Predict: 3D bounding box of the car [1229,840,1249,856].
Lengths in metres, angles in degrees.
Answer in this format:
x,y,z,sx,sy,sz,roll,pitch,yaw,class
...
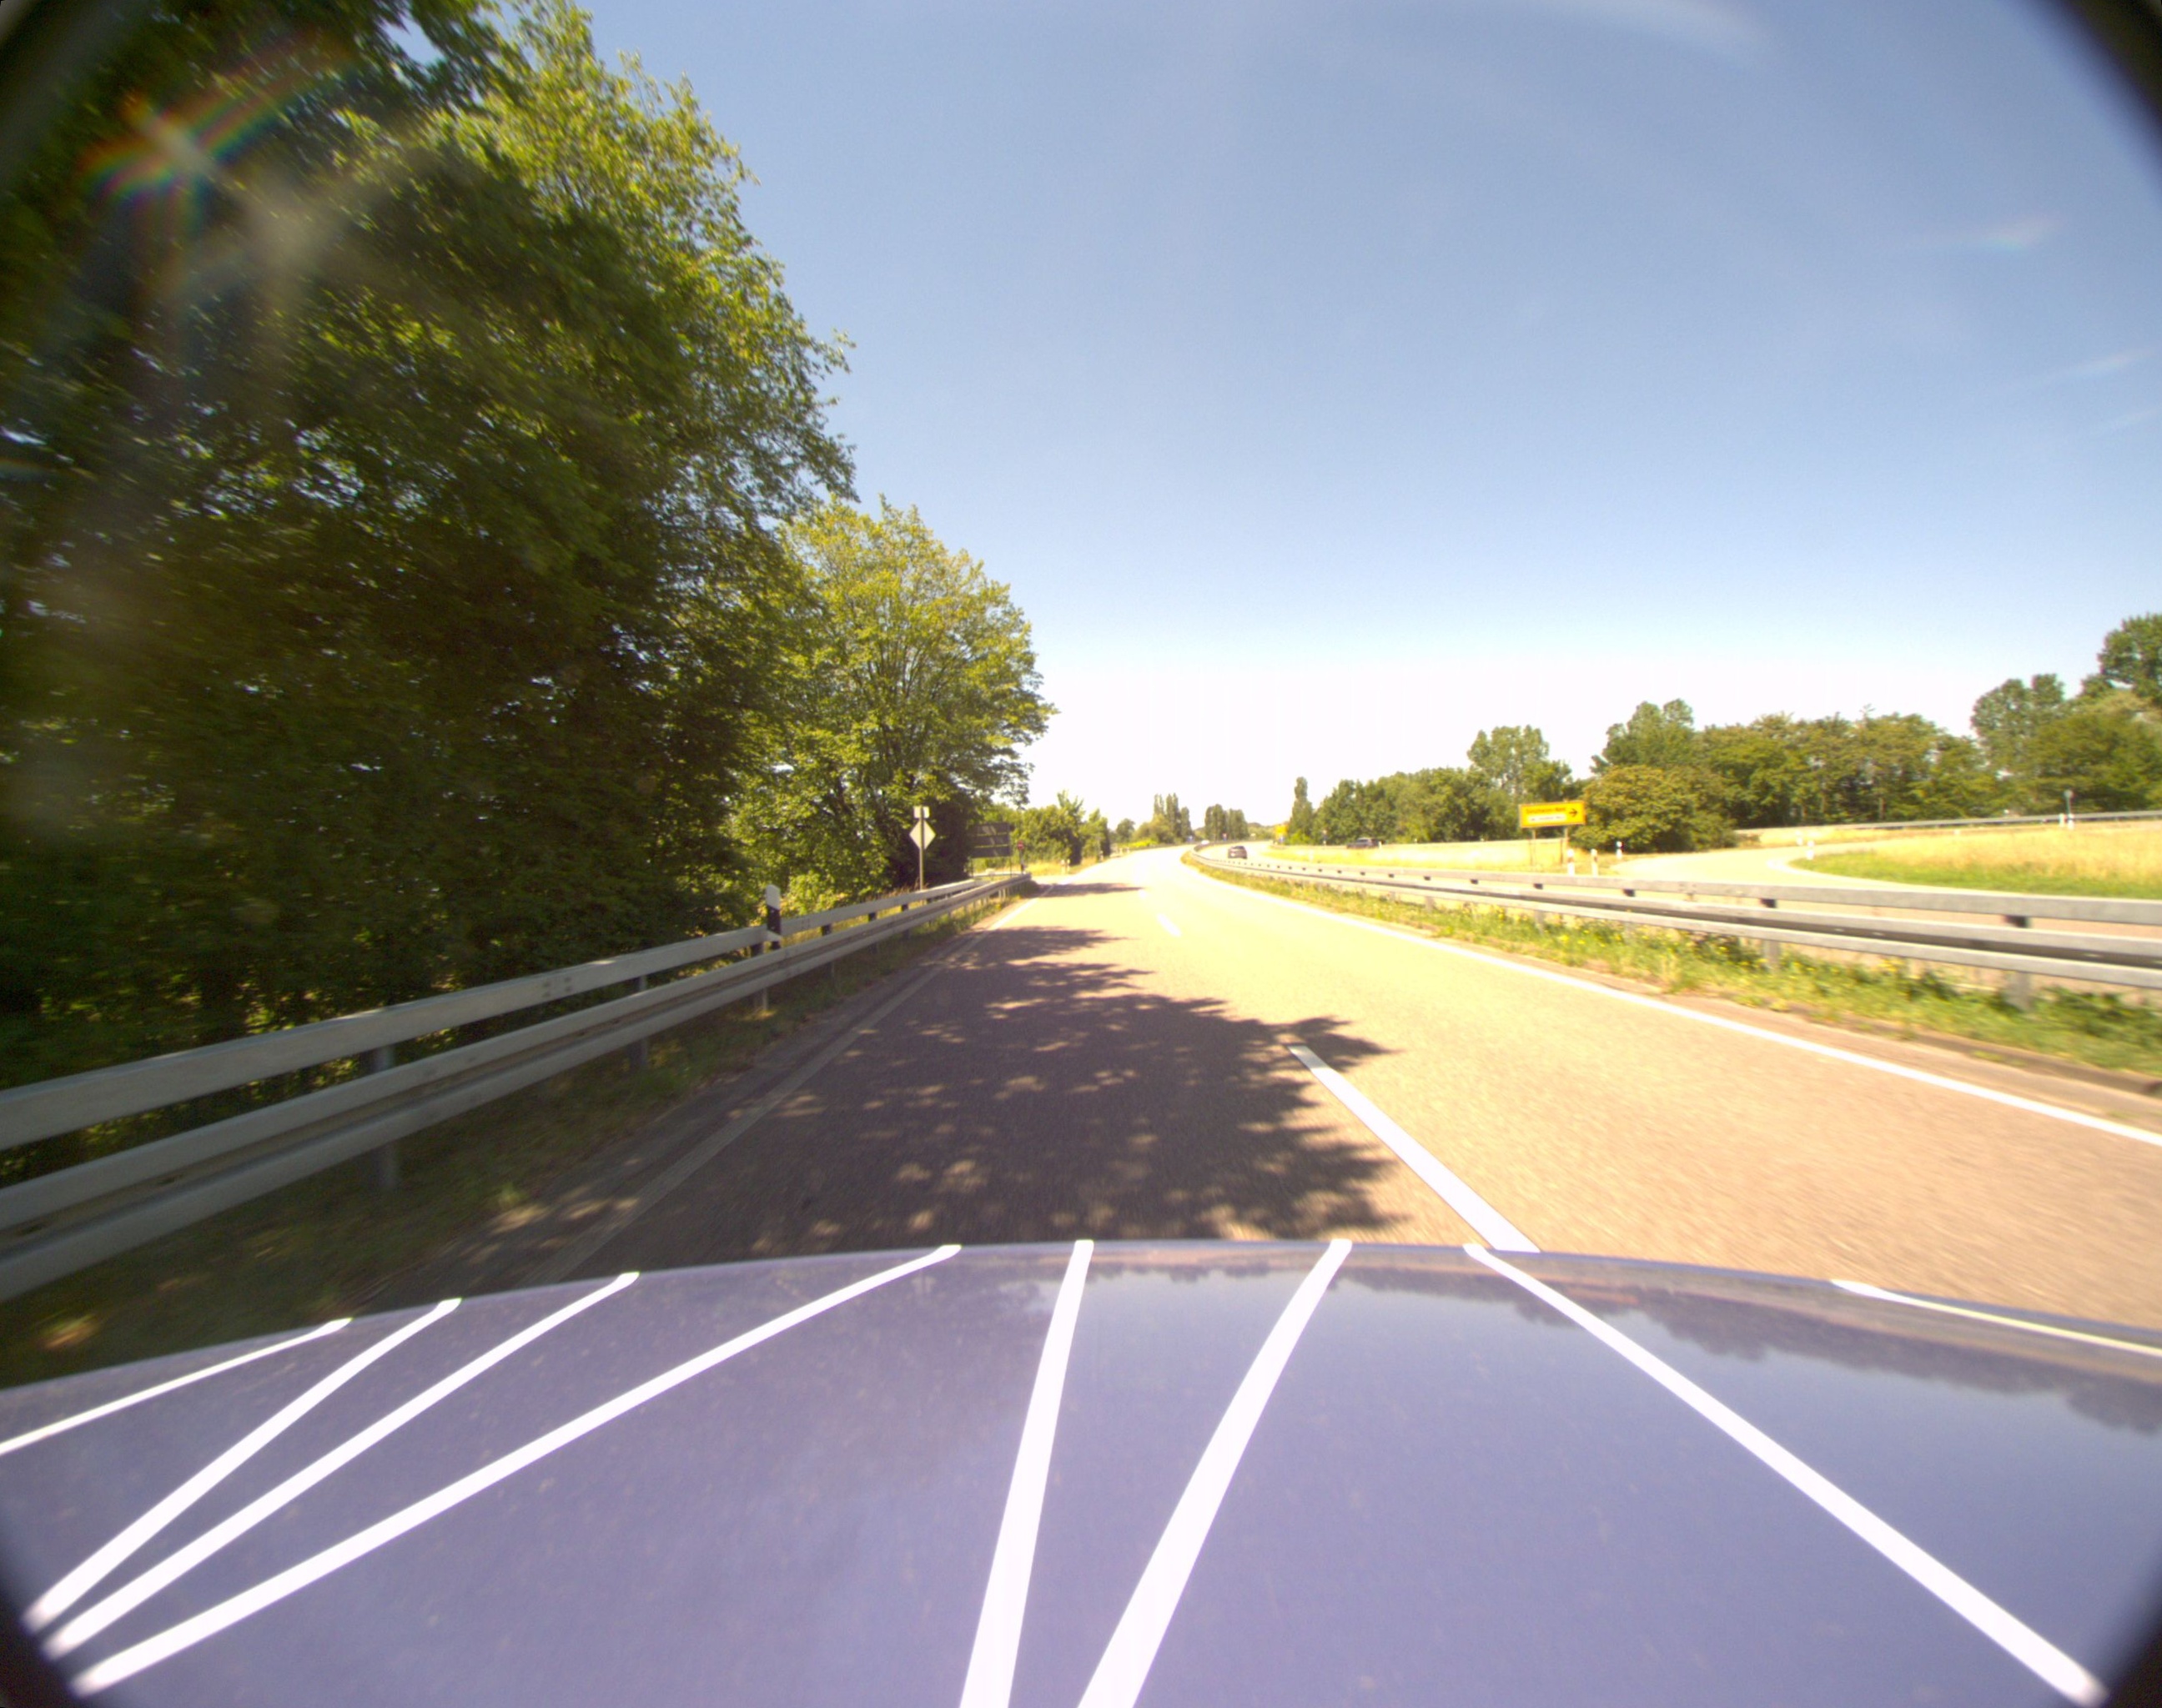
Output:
x,y,z,sx,sy,sz,roll,pitch,yaw,class
17.208,-0.685,82.938,1.827,1.608,4.542,-2,0,8,car

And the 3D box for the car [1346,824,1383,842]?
x,y,z,sx,sy,sz,roll,pitch,yaw,class
36.296,-2.684,97.262,2.002,2.002,3.991,-6,2,-28,car
